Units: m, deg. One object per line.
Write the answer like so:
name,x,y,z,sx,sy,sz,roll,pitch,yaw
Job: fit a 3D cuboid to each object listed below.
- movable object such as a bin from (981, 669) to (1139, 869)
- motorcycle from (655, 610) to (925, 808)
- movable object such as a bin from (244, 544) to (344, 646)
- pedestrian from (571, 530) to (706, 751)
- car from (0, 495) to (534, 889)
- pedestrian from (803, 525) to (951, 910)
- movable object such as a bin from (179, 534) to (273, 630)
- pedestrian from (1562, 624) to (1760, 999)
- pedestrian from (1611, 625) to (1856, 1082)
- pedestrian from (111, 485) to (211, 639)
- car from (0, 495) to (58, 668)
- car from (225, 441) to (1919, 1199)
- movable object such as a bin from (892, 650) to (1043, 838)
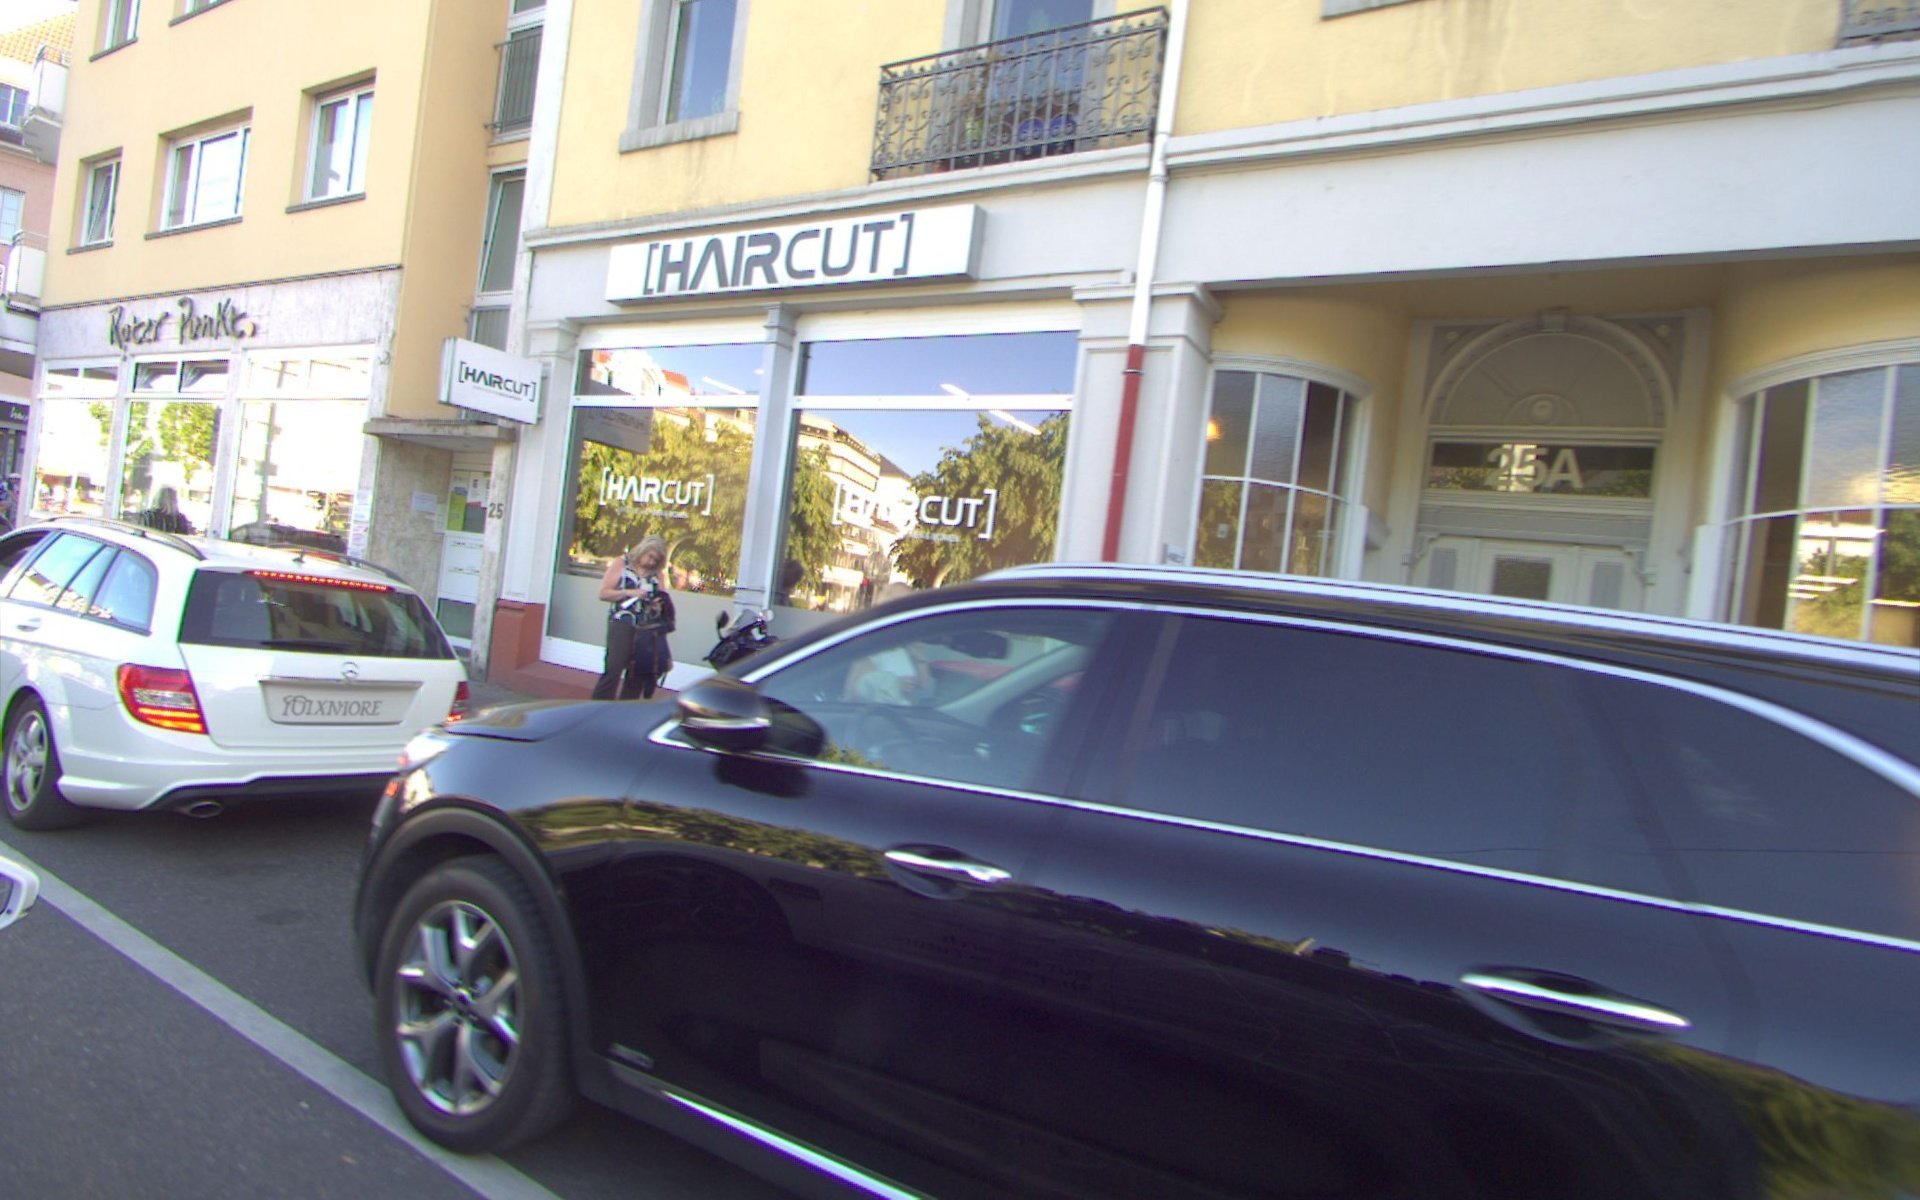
movable object such as a bin,0.613,0.982,6.104,0.609,1.038,0.667,8,3,34
motorcycle,-1.288,0.744,7.405,1.975,1.105,0.551,7,1,31
movable object such as a bin,-7.578,-0.051,11.458,0.609,1.082,0.703,8,3,31
pedestrian,-2.563,0.319,8.053,0.523,1.653,0.697,7,2,30
car,-4.698,0.256,5.836,4.389,1.464,1.741,7,-1,31
pedestrian,-0.397,0.565,5.009,0.473,1.783,0.435,7,-1,0
movable object such as a bin,-8.995,-0.216,12.328,0.609,1.082,0.703,8,3,31
pedestrian,3.360,0.985,4.856,0.514,1.682,0.338,7,2,12
pedestrian,3.151,0.982,4.155,0.583,1.682,0.450,8,2,33
pedestrian,-9.072,-0.421,11.427,0.618,1.654,0.661,7,2,36
car,-10.037,-0.413,9.047,4.009,1.444,1.673,7,-1,31
car,0.326,0.730,2.660,4.493,1.757,1.759,7,-1,28
movable object such as a bin,0.053,0.888,6.460,0.609,1.055,0.659,8,3,34
